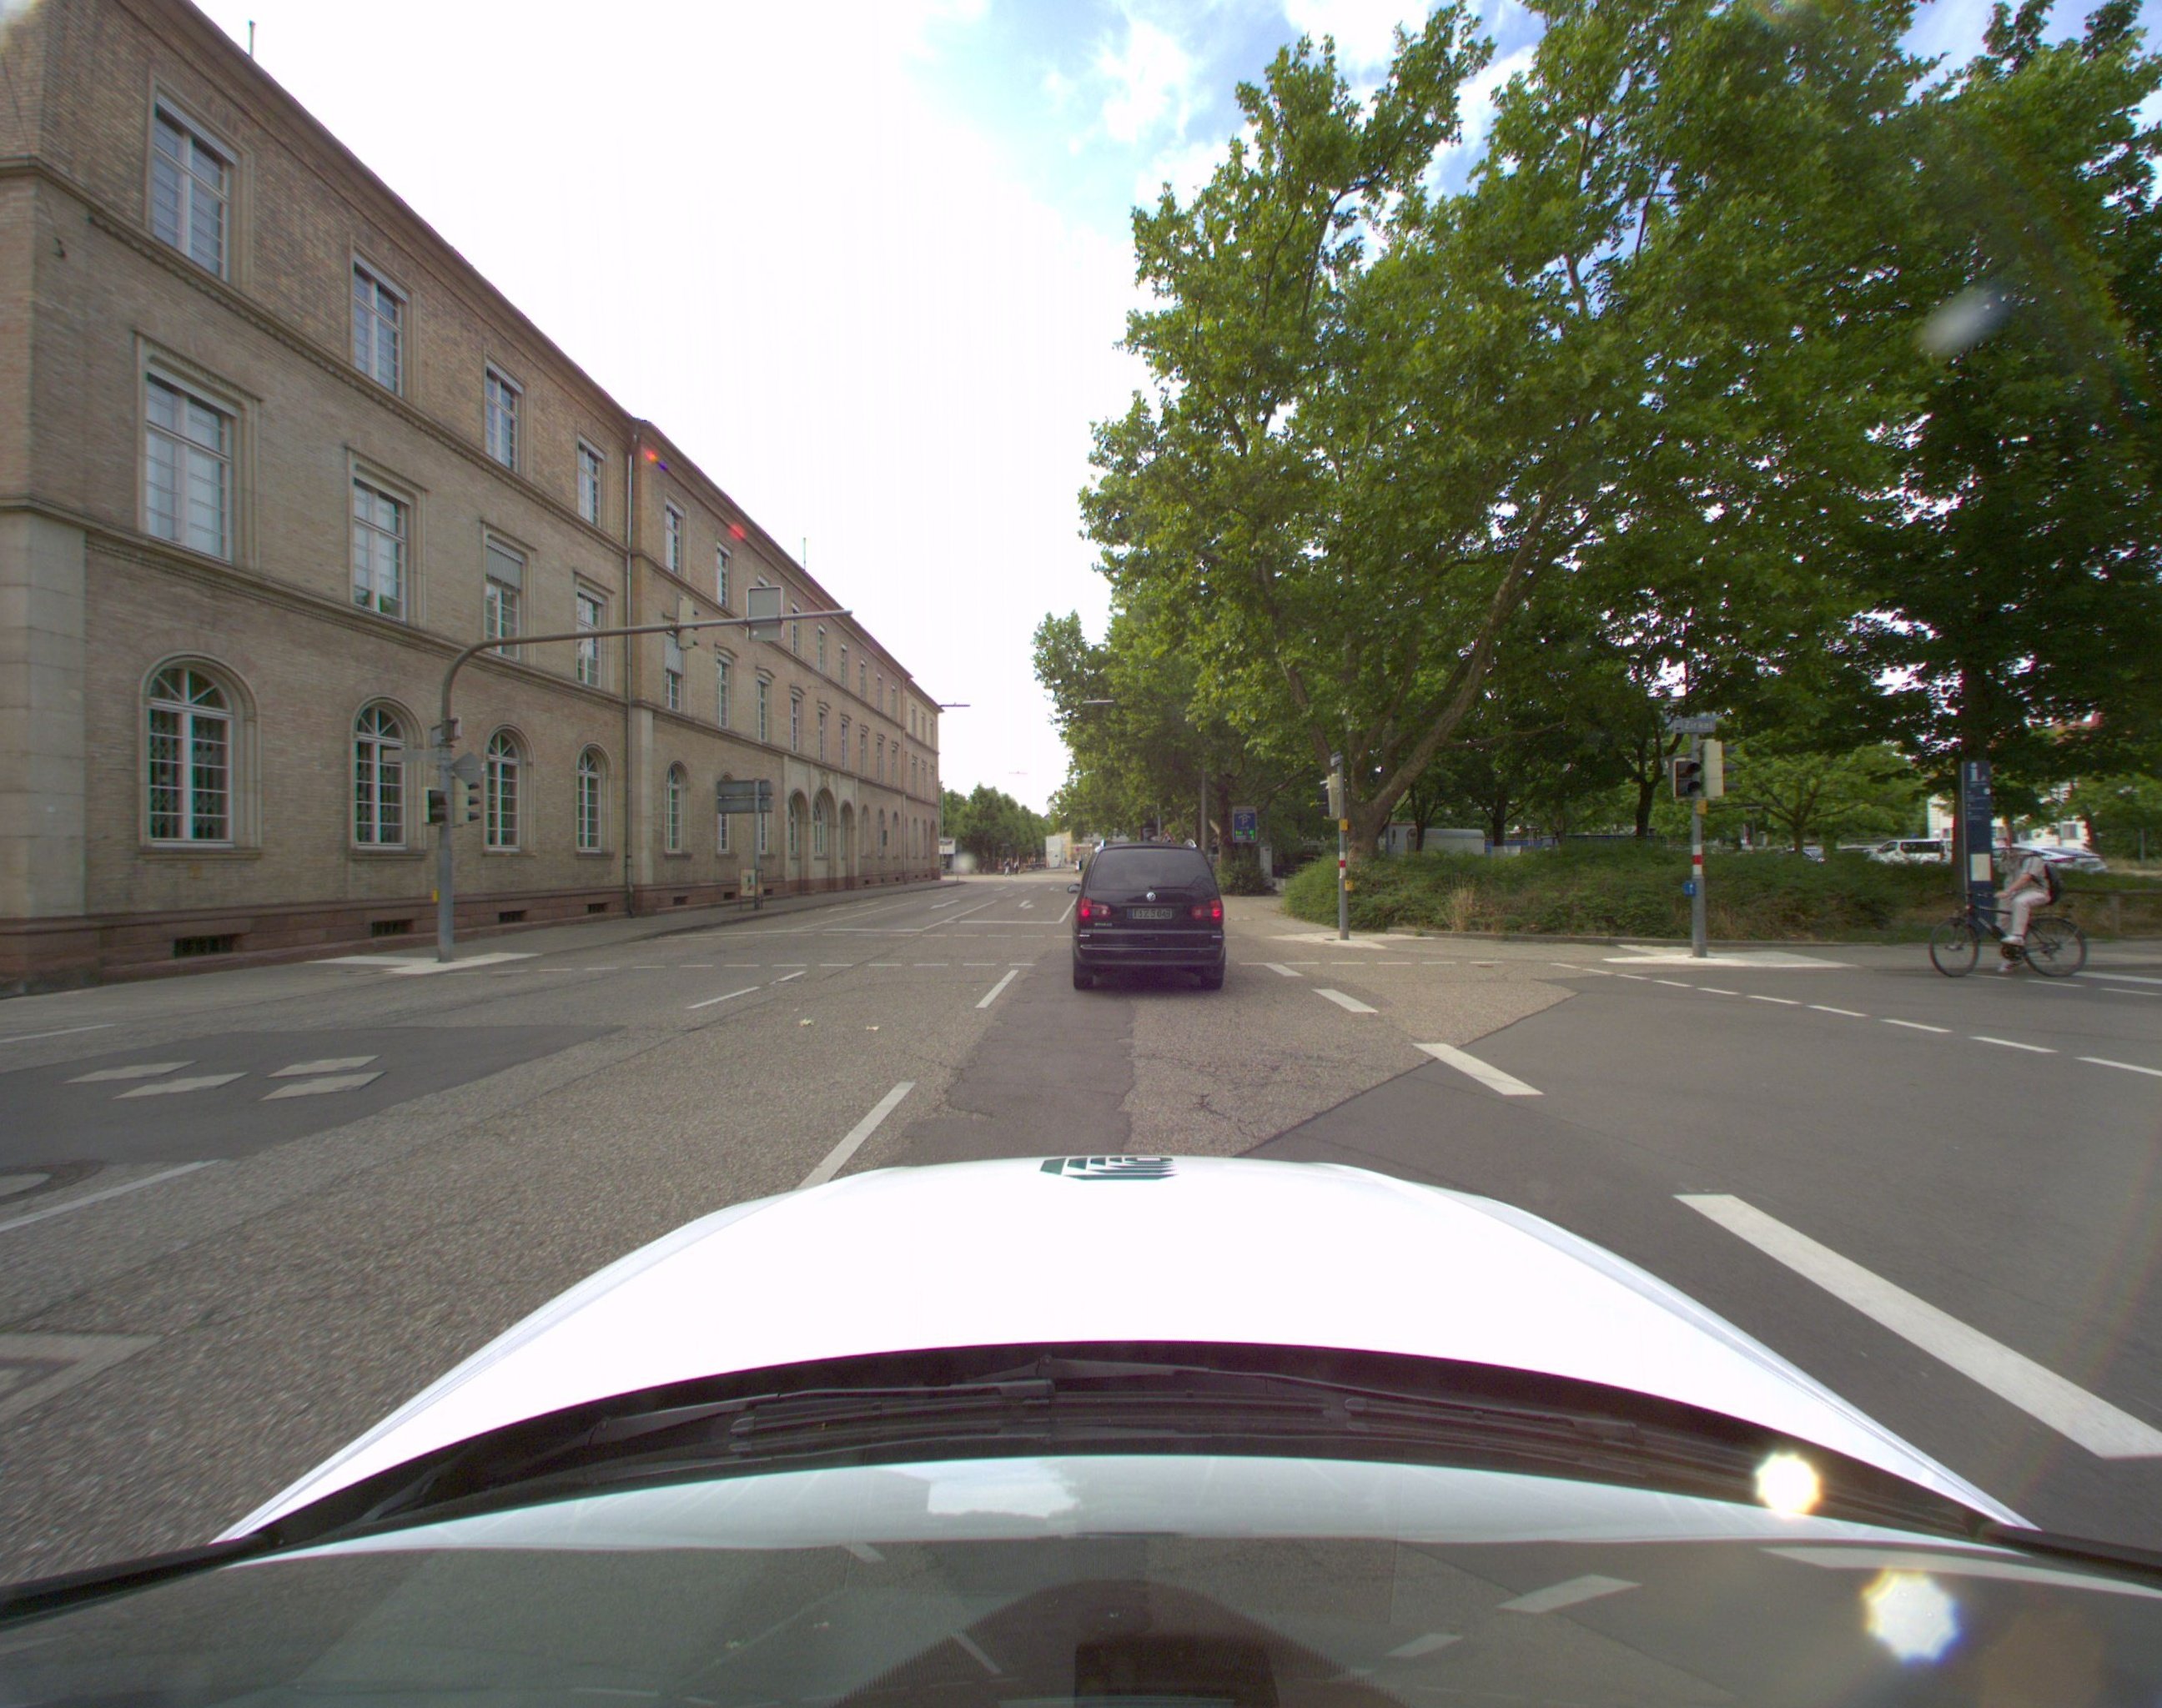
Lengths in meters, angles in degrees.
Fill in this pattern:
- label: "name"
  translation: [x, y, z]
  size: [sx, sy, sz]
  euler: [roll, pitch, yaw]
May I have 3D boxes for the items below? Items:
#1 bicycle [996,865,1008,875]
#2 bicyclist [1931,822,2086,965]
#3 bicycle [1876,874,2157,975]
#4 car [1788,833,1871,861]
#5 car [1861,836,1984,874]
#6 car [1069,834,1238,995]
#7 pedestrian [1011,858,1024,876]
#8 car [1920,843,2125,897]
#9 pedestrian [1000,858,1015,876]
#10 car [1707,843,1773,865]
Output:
- label: "bicycle"
  translation: [-9.567, 1.964, 98.675]
  size: [0.954, 1.110, 2.566]
  euler: [1, 0, -16]
- label: "bicyclist"
  translation: [11.405, 0.481, 10.059]
  size: [0.825, 1.678, 0.917]
  euler: [-1, -2, 6]
- label: "bicycle"
  translation: [11.426, 0.837, 10.038]
  size: [2.233, 1.172, 0.917]
  euler: [-1, -2, 6]
- label: "car"
  translation: [57.798, -0.541, 62.993]
  size: [1.988, 2.013, 4.771]
  euler: [1, 0, -1]
- label: "car"
  translation: [47.786, 0.031, 46.403]
  size: [1.989, 2.013, 4.768]
  euler: [1, 0, -3]
- label: "car"
  translation: [0.823, 0.650, 10.769]
  size: [1.787, 1.708, 4.132]
  euler: [-1, 0, 1]
- label: "pedestrian"
  translation: [-6.036, 1.254, 77.541]
  size: [0.888, 1.641, 0.856]
  euler: [1, 0, 20]
- label: "car"
  translation: [34.310, 0.534, 29.940]
  size: [1.988, 1.794, 4.771]
  euler: [1, 0, -1]
- label: "pedestrian"
  translation: [-6.996, 1.253, 77.865]
  size: [0.952, 1.741, 1.262]
  euler: [1, 0, 20]
- label: "car"
  translation: [50.564, 0.018, 62.565]
  size: [1.988, 1.580, 3.787]
  euler: [1, 0, -1]
